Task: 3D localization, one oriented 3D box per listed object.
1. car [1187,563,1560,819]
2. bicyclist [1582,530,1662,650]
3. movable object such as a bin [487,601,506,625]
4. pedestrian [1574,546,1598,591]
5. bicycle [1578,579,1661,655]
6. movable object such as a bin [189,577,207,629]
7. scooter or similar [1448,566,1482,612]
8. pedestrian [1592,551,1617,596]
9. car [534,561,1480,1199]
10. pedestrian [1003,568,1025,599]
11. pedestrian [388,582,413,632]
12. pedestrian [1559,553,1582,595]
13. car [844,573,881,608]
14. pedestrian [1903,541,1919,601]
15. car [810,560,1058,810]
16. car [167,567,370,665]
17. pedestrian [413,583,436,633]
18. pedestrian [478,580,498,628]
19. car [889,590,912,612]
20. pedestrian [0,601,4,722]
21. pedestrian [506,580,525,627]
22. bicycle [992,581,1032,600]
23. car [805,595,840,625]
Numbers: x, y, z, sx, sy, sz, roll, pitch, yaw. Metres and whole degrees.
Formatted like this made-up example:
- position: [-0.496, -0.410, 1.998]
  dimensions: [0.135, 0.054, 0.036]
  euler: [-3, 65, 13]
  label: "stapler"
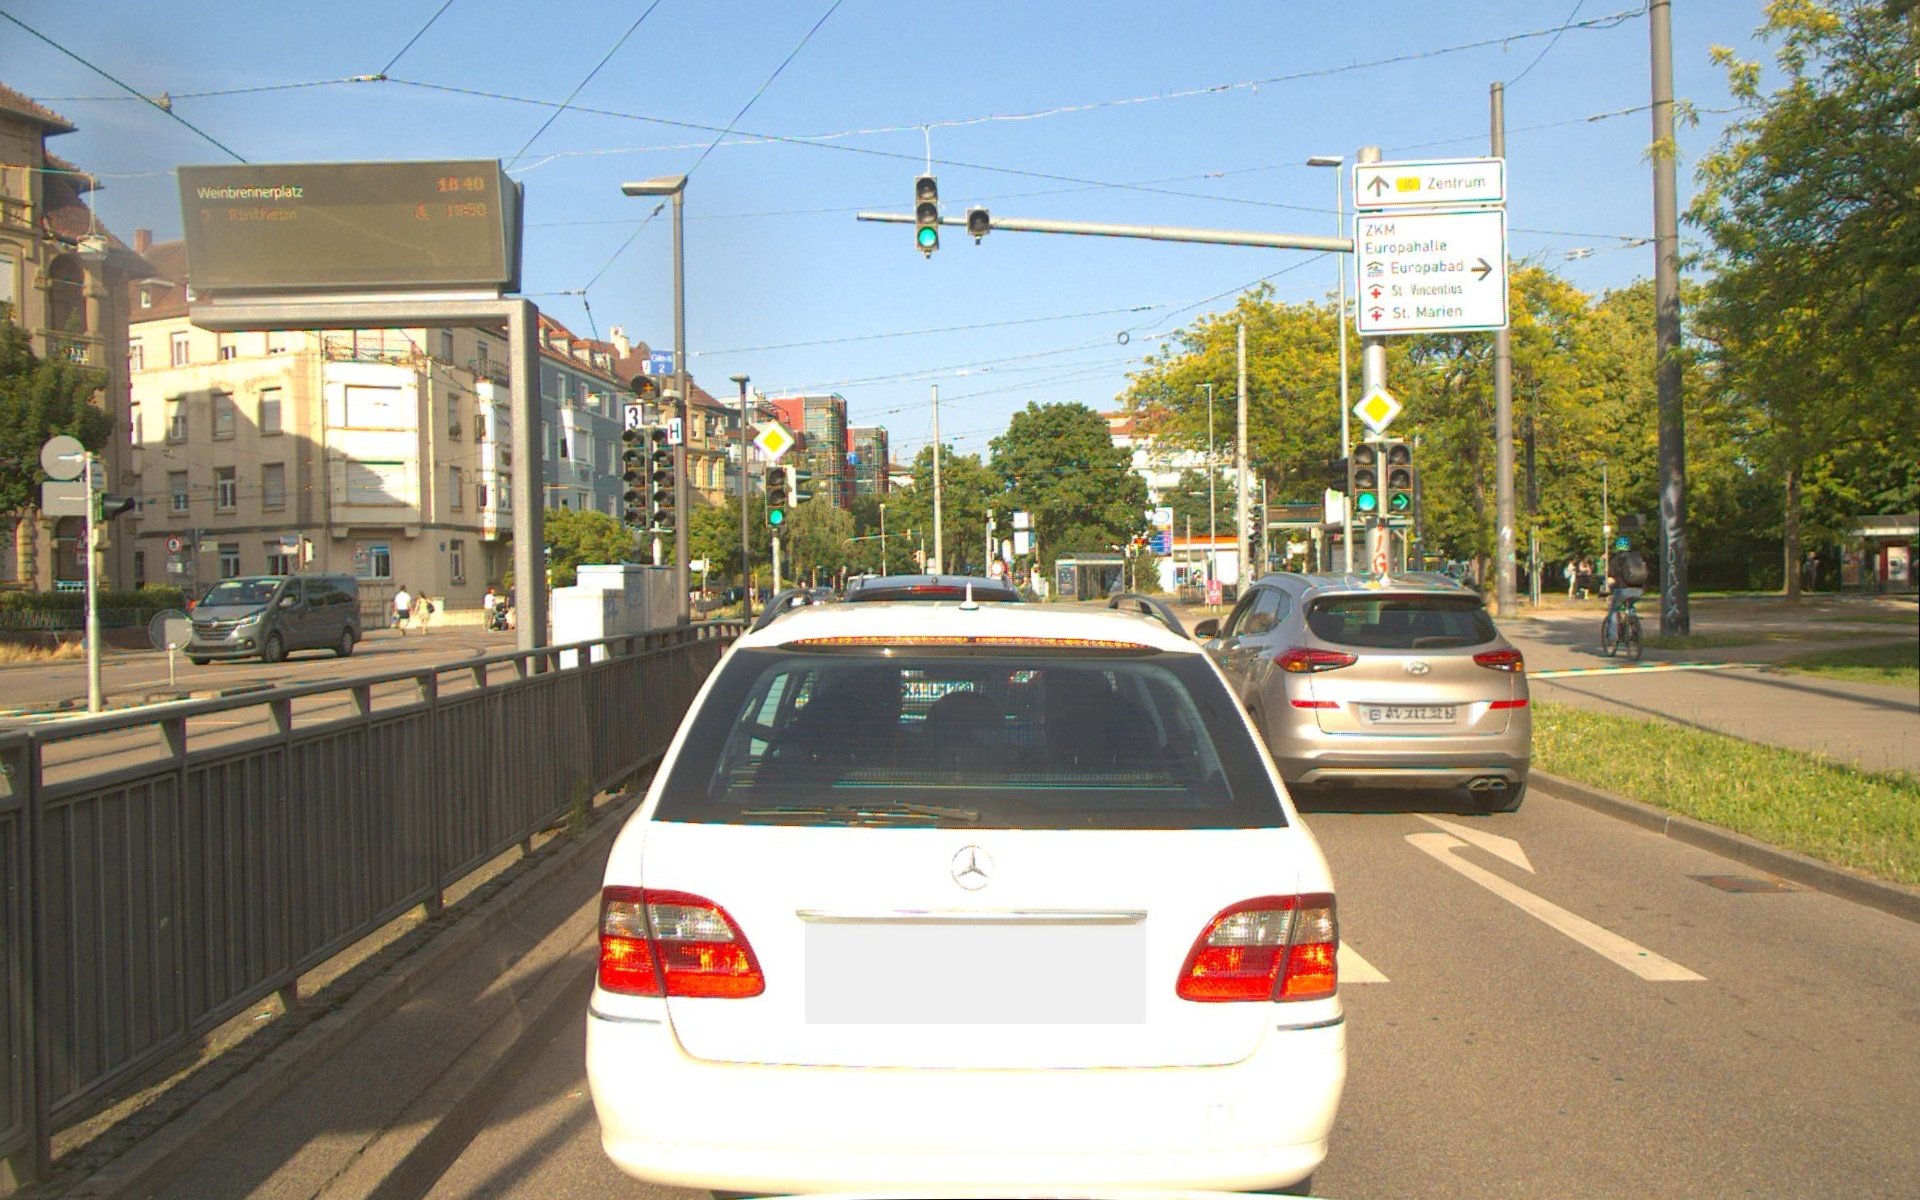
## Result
- position: [2.894, 0.565, 12.424]
  dimensions: [1.798, 1.628, 3.814]
  euler: [0, 0, -1]
  label: "car"
- position: [10.248, -0.157, 25.648]
  dimensions: [0.705, 1.776, 1.140]
  euler: [-4, 0, 3]
  label: "bicyclist"
- position: [-19.210, 0.553, 68.575]
  dimensions: [0.571, 0.963, 0.663]
  euler: [-1, 0, 4]
  label: "movable object such as a bin"
- position: [24.252, -1.217, 64.102]
  dimensions: [0.628, 1.694, 0.690]
  euler: [-1, 0, -1]
  label: "pedestrian"
- position: [10.307, 0.250, 25.919]
  dimensions: [0.627, 1.107, 1.734]
  euler: [-4, 0, 3]
  label: "bicycle"
- position: [-25.773, 0.100, 55.928]
  dimensions: [0.261, 1.739, 2.357]
  euler: [-2, 1, -31]
  label: "movable object such as a bin"
- position: [13.938, -0.301, 45.660]
  dimensions: [0.345, 1.253, 1.131]
  euler: [-1, 0, -15]
  label: "scooter or similar"
- position: [24.524, -1.018, 62.933]
  dimensions: [0.628, 1.694, 0.690]
  euler: [-1, 0, -1]
  label: "pedestrian"
- position: [0.067, 0.678, 5.058]
  dimensions: [1.798, 1.527, 3.814]
  euler: [0, 0, -1]
  label: "car"
- position: [2.906, -0.878, 88.995]
  dimensions: [0.985, 1.619, 0.866]
  euler: [-1, 0, 18]
  label: "pedestrian"
- position: [-21.520, 0.267, 63.618]
  dimensions: [0.644, 1.913, 0.627]
  euler: [-1, 0, 14]
  label: "pedestrian"
- position: [23.969, -1.023, 64.946]
  dimensions: [0.628, 1.638, 0.690]
  euler: [-1, 0, -1]
  label: "pedestrian"
- position: [-6.648, -0.655, 113.214]
  dimensions: [2.132, 2.278, 5.253]
  euler: [-1, 1, 0]
  label: "car"
- position: [30.225, -0.914, 52.255]
  dimensions: [0.453, 1.900, 0.602]
  euler: [1, -1, -19]
  label: "pedestrian"
- position: [-0.195, 0.538, 12.695]
  dimensions: [1.608, 1.628, 3.814]
  euler: [0, 0, -1]
  label: "car"
- position: [-15.778, 0.314, 38.102]
  dimensions: [2.100, 2.049, 5.390]
  euler: [-1, 0, 3]
  label: "car"
- position: [-20.531, 0.316, 63.432]
  dimensions: [0.661, 1.880, 0.649]
  euler: [-1, 0, -3]
  label: "pedestrian"
- position: [-19.336, 0.161, 67.747]
  dimensions: [0.572, 1.913, 0.627]
  euler: [-1, 0, 2]
  label: "pedestrian"
- position: [-4.698, 0.070, 130.718]
  dimensions: [1.731, 1.520, 4.744]
  euler: [-2, 2, -1]
  label: "car"
- position: [-13.157, 0.836, 21.887]
  dimensions: [0.578, 1.617, 0.715]
  euler: [-1, 0, -5]
  label: "pedestrian"
- position: [-18.312, 0.145, 68.125]
  dimensions: [0.573, 1.913, 0.626]
  euler: [-1, 2, -3]
  label: "pedestrian"
- position: [2.783, -0.521, 89.060]
  dimensions: [1.975, 0.963, 0.880]
  euler: [-1, 0, 19]
  label: "bicycle"
- position: [-7.934, 0.584, 95.854]
  dimensions: [1.642, 1.552, 4.125]
  euler: [-1, 2, 0]
  label: "car"
